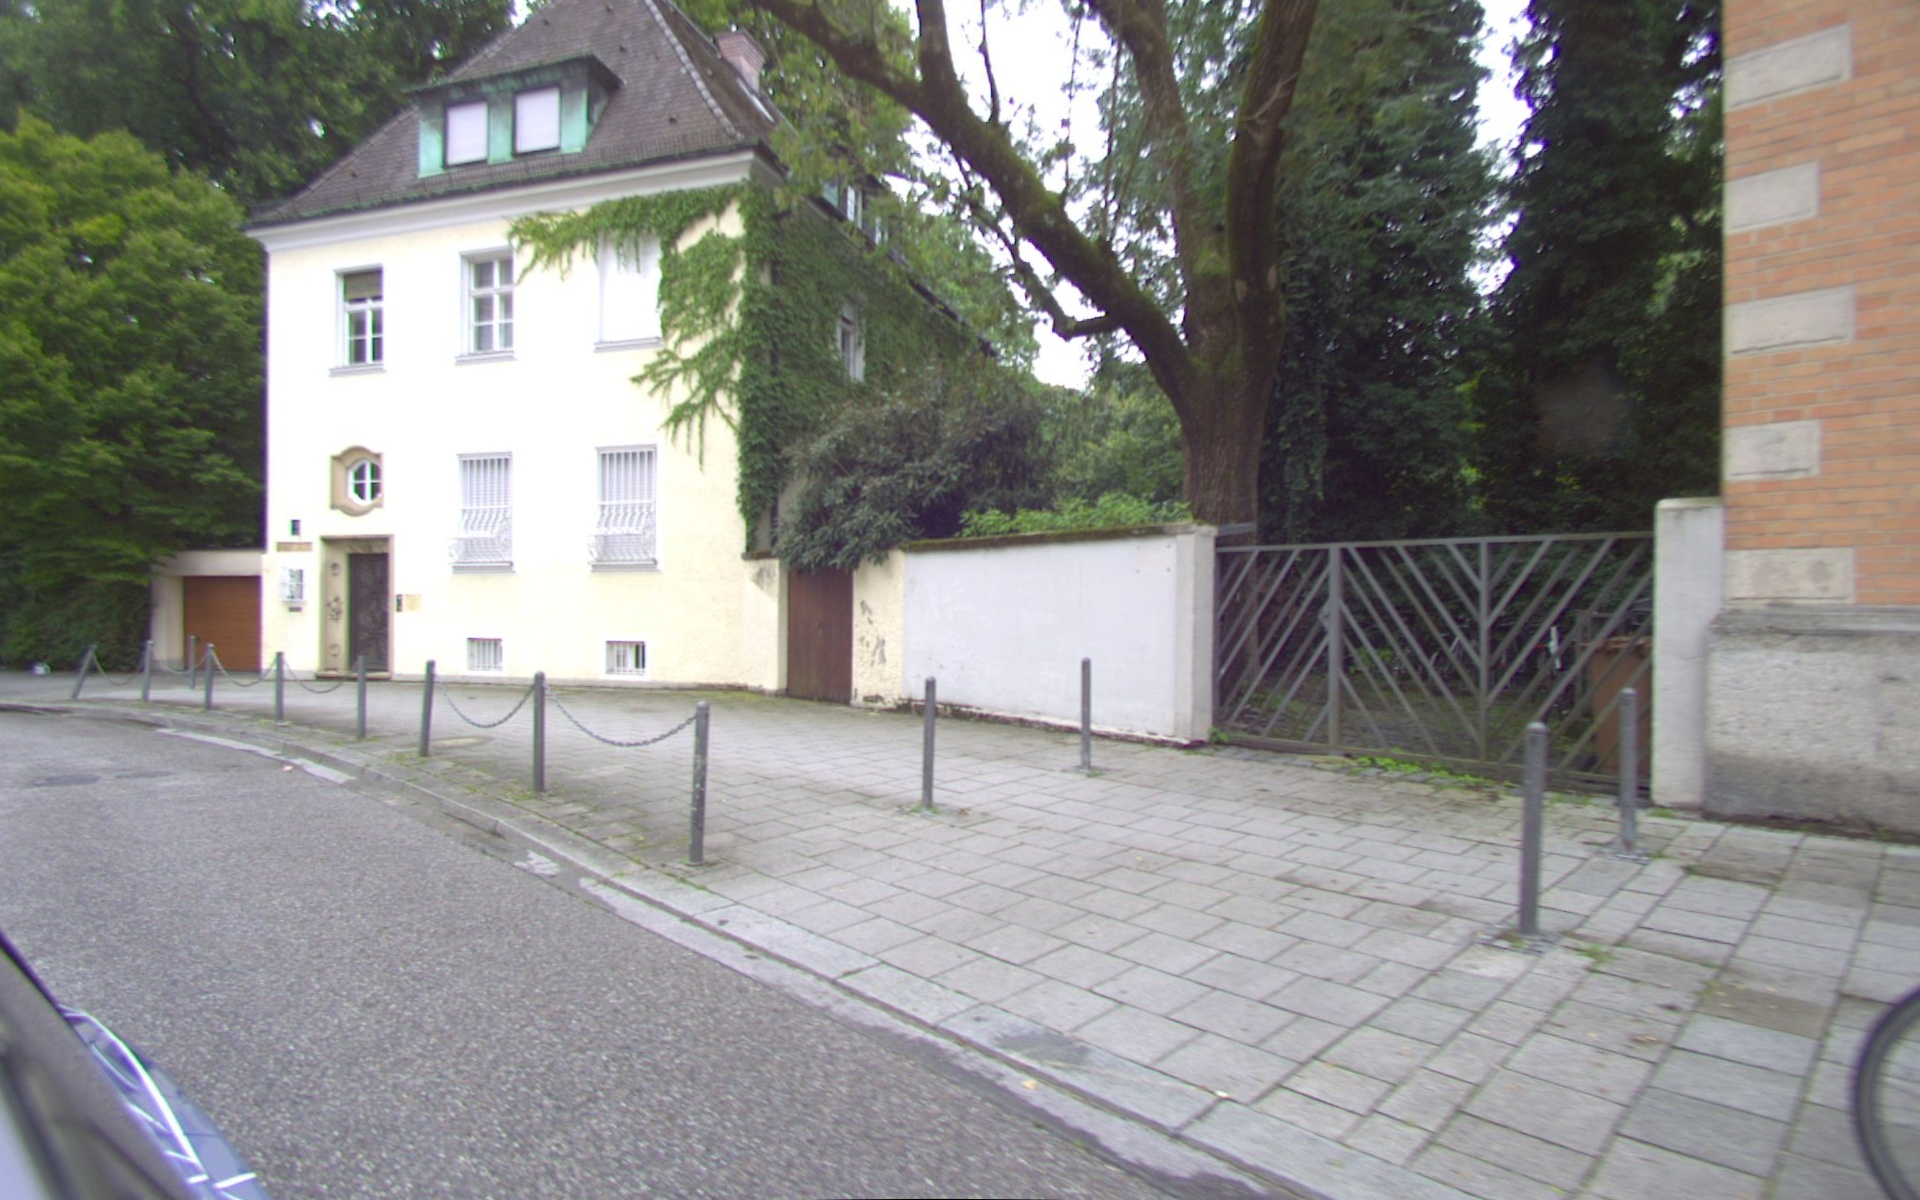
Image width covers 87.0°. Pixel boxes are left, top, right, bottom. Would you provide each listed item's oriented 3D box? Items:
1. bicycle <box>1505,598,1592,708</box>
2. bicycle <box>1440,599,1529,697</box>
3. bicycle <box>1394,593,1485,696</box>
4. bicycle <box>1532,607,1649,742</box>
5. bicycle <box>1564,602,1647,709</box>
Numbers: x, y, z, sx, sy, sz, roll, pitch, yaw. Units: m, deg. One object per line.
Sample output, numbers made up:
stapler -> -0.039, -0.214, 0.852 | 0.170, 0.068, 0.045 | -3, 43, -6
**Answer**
bicycle -> 7.390, 0.623, 12.653 | 0.535, 1.261, 2.271 | 0, -1, 41
bicycle -> 6.919, 0.597, 13.290 | 0.535, 1.194, 2.271 | 0, -1, 41
bicycle -> 6.530, 0.573, 13.706 | 0.535, 1.293, 2.271 | 0, -1, 41
bicycle -> 6.343, 0.697, 10.131 | 2.052, 1.228, 0.536 | 1, -1, -45
bicycle -> 7.853, 0.631, 12.265 | 0.535, 1.189, 2.271 | 0, -1, 41
